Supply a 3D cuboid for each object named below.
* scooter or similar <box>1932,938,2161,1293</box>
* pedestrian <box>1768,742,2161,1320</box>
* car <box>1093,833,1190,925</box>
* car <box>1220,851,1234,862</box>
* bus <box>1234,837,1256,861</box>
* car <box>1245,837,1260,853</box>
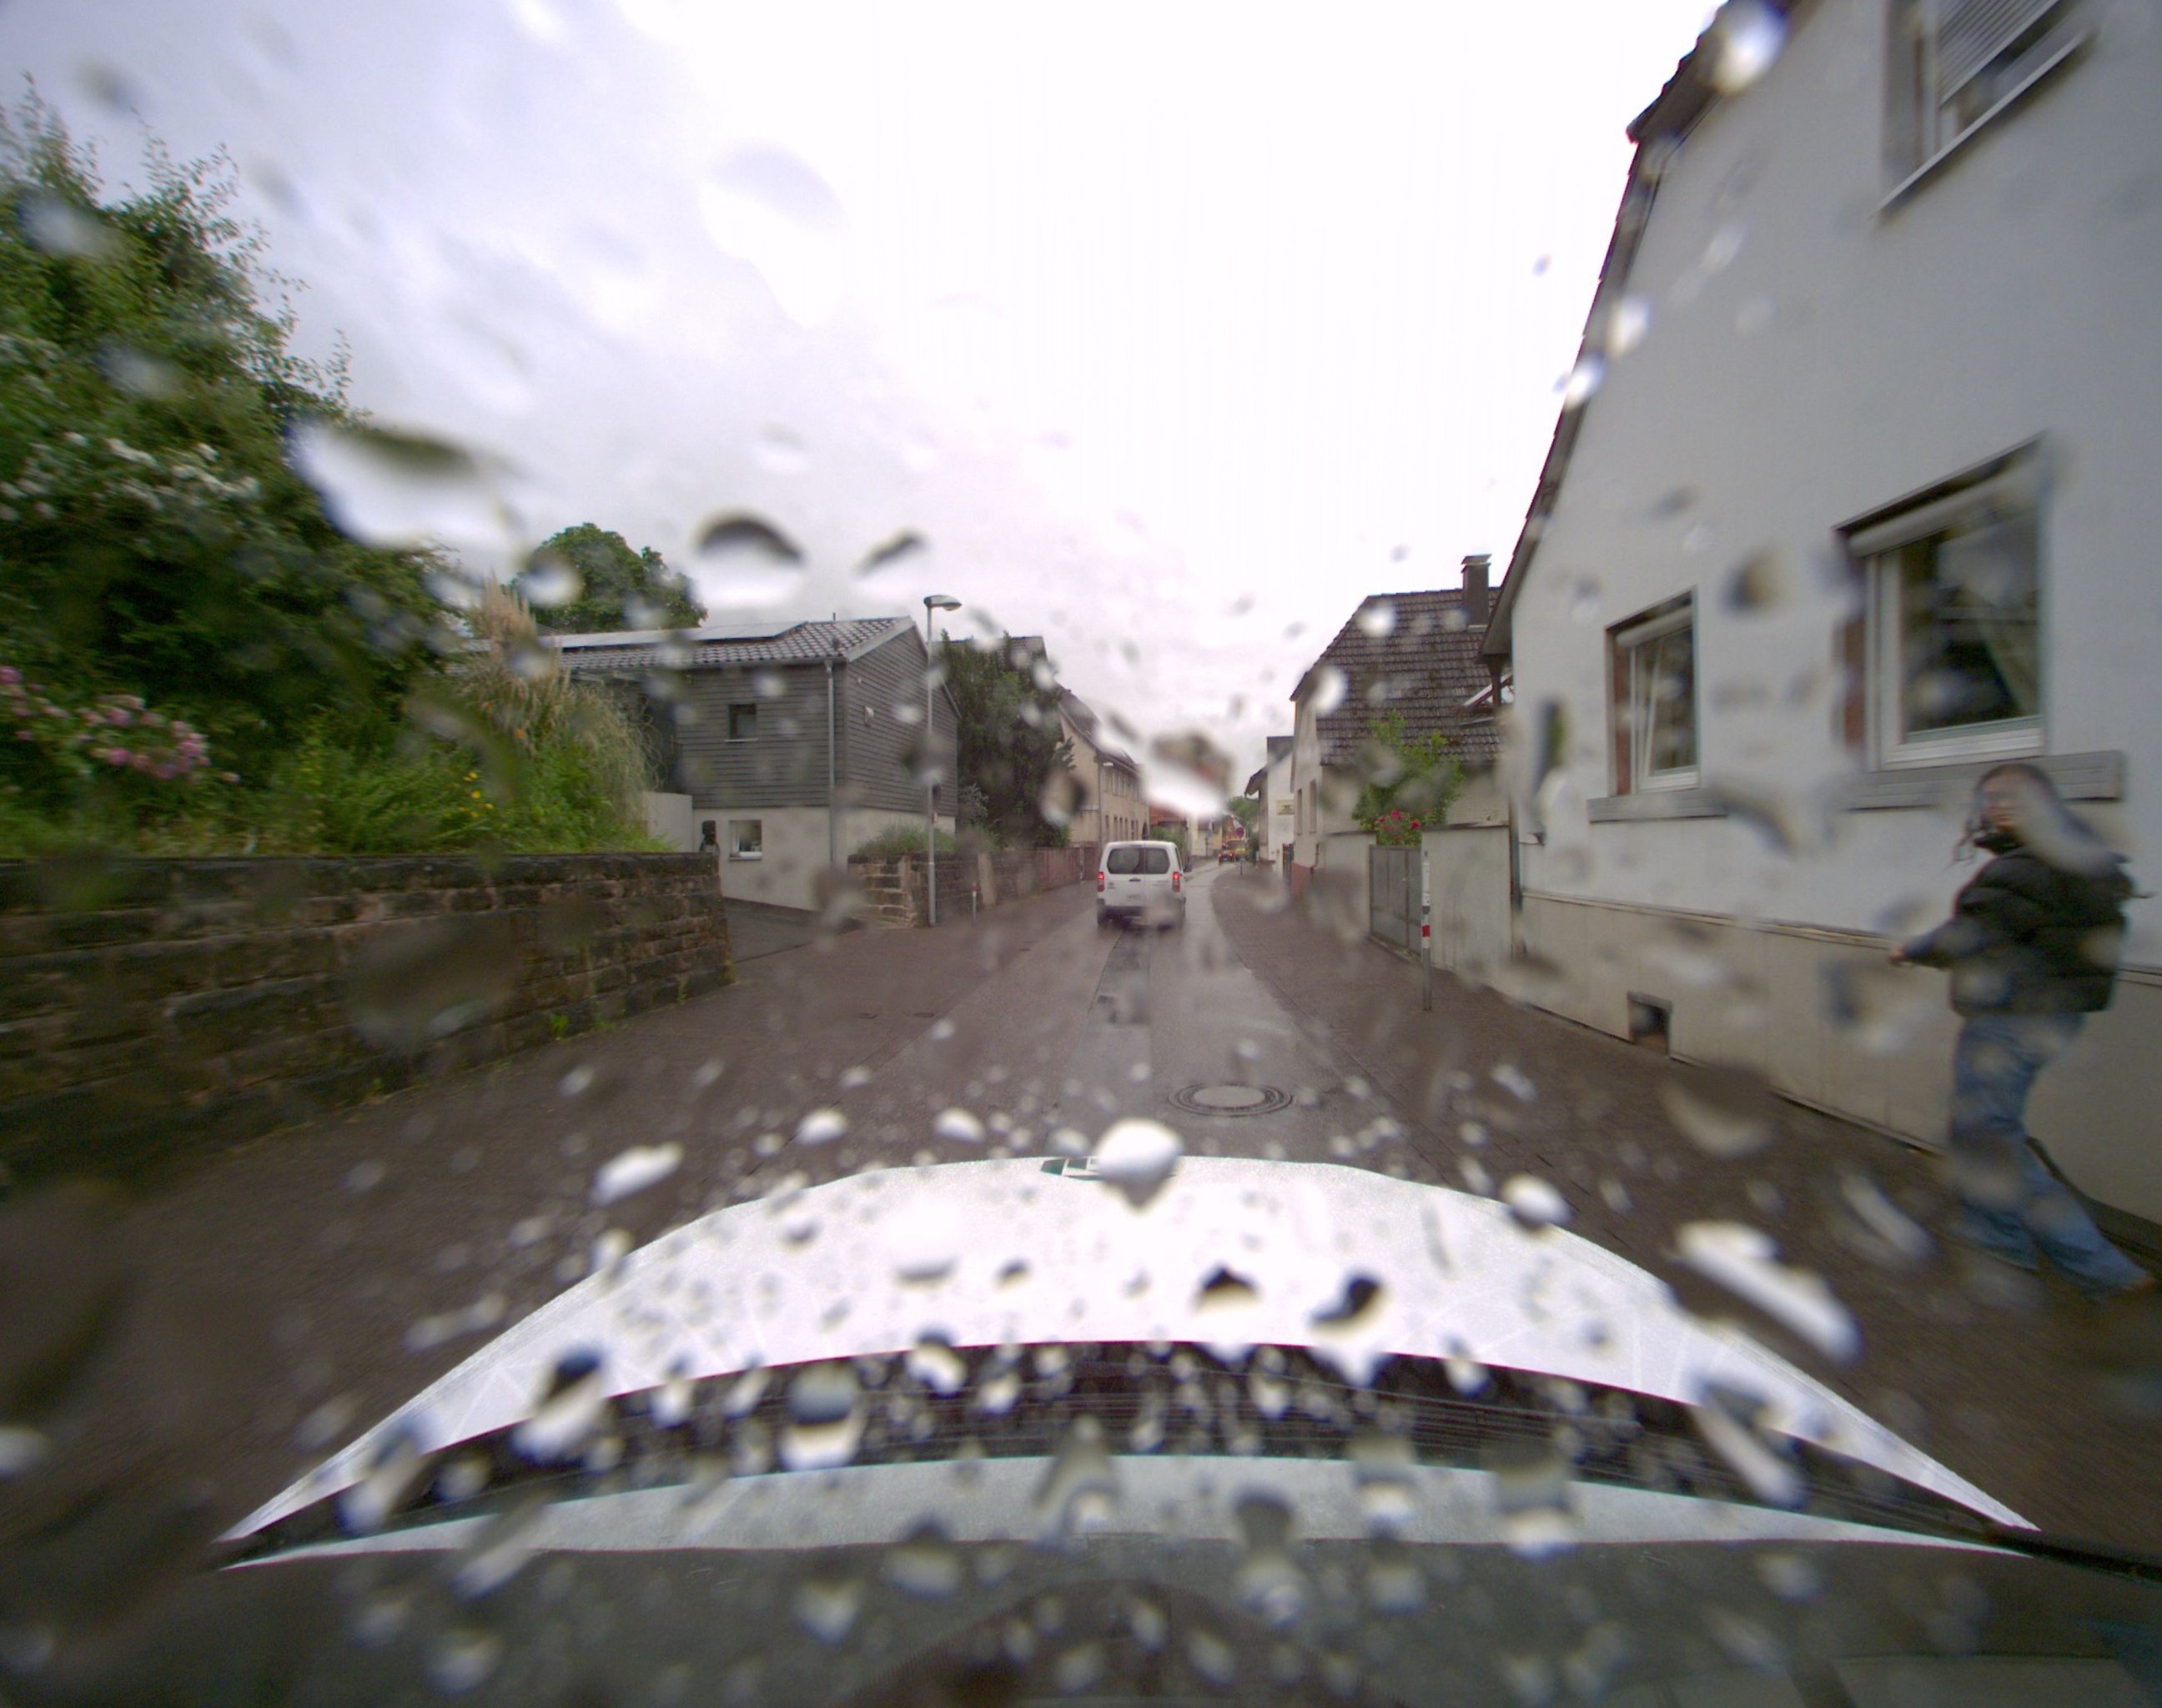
[{"bbox_3d":[3.482,0.851,2.673,0.244,1.028,1.101,-1,0,3],"label":"scooter or similar"},{"bbox_3d":[3.112,0.531,2.857,0.691,1.732,0.822,-1,0,3],"label":"pedestrian"},{"bbox_3d":[1.478,0.522,18.276,1.784,1.819,4.112,0,-1,9],"label":"car"},{"bbox_3d":[18.635,0.298,103.805,1.551,1.371,3.598,1,0,13],"label":"car"},{"bbox_3d":[23.420,-0.691,116.109,2.774,3.180,8.205,1,0,13],"label":"bus"},{"bbox_3d":[23.027,-1.230,109.267,1.815,2.014,3.706,1,0,12],"label":"car"}]
